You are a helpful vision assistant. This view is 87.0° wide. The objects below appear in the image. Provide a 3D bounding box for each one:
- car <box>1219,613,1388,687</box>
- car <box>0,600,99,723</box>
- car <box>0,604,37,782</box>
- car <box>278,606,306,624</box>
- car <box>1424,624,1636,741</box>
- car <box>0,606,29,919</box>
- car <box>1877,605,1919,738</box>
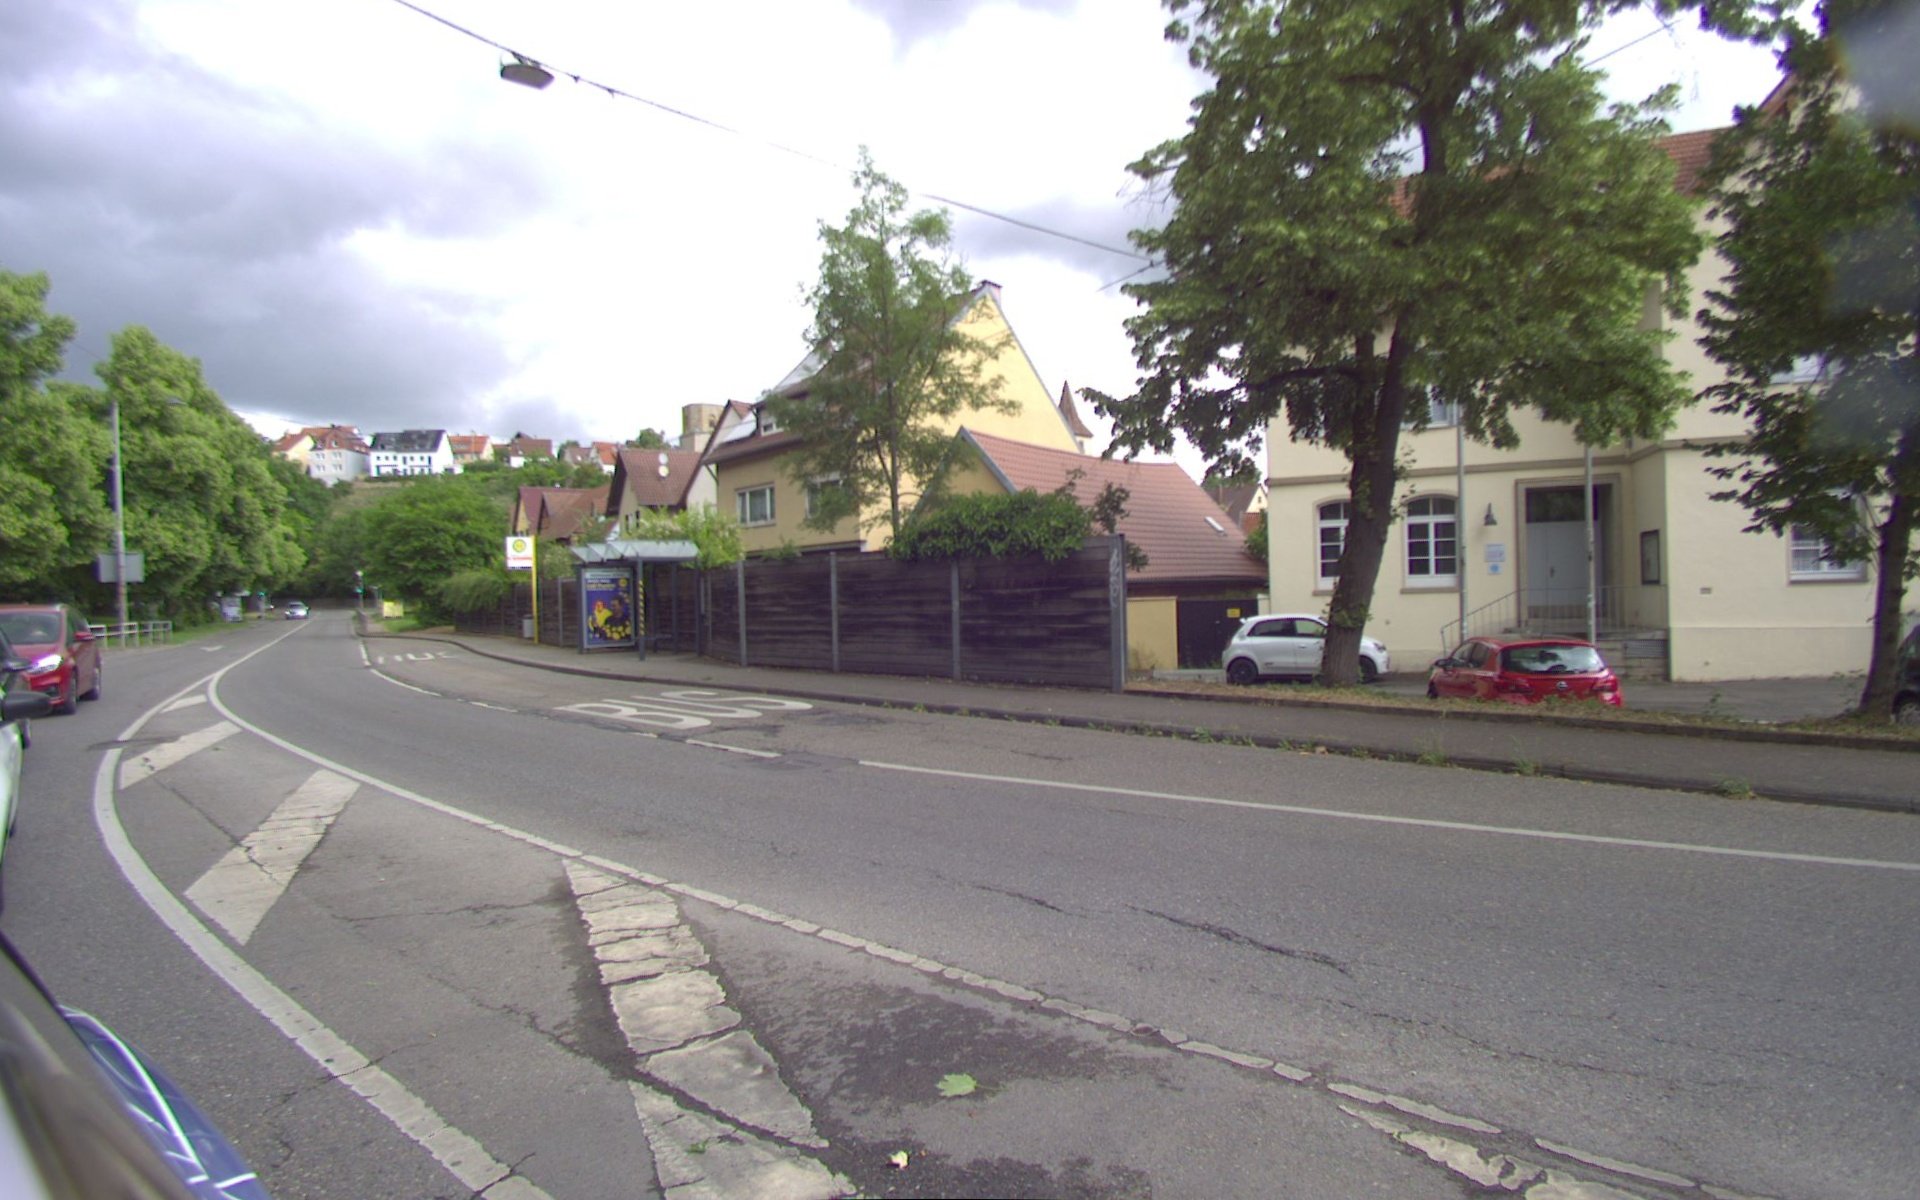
[{"bbox_3d":[7.738,1.106,22.929,3.487,1.528,1.581,-1,0,20],"label":"car"},{"bbox_3d":[-14.518,0.873,15.443,1.800,1.685,4.067,-1,0,-37],"label":"car"},{"bbox_3d":[-10.233,0.849,9.860,1.699,1.559,3.787,-1,0,-41],"label":"car"},{"bbox_3d":[-65.753,1.439,99.647,1.815,1.652,4.013,-1,0,-26],"label":"car"},{"bbox_3d":[8.118,1.102,14.774,1.590,1.389,3.544,-1,0,10],"label":"car"},{"bbox_3d":[-6.039,0.813,5.281,1.594,1.525,3.610,-1,0,-41],"label":"car"},{"bbox_3d":[12.691,0.888,11.591,1.586,1.644,3.093,-1,0,2],"label":"car"}]
